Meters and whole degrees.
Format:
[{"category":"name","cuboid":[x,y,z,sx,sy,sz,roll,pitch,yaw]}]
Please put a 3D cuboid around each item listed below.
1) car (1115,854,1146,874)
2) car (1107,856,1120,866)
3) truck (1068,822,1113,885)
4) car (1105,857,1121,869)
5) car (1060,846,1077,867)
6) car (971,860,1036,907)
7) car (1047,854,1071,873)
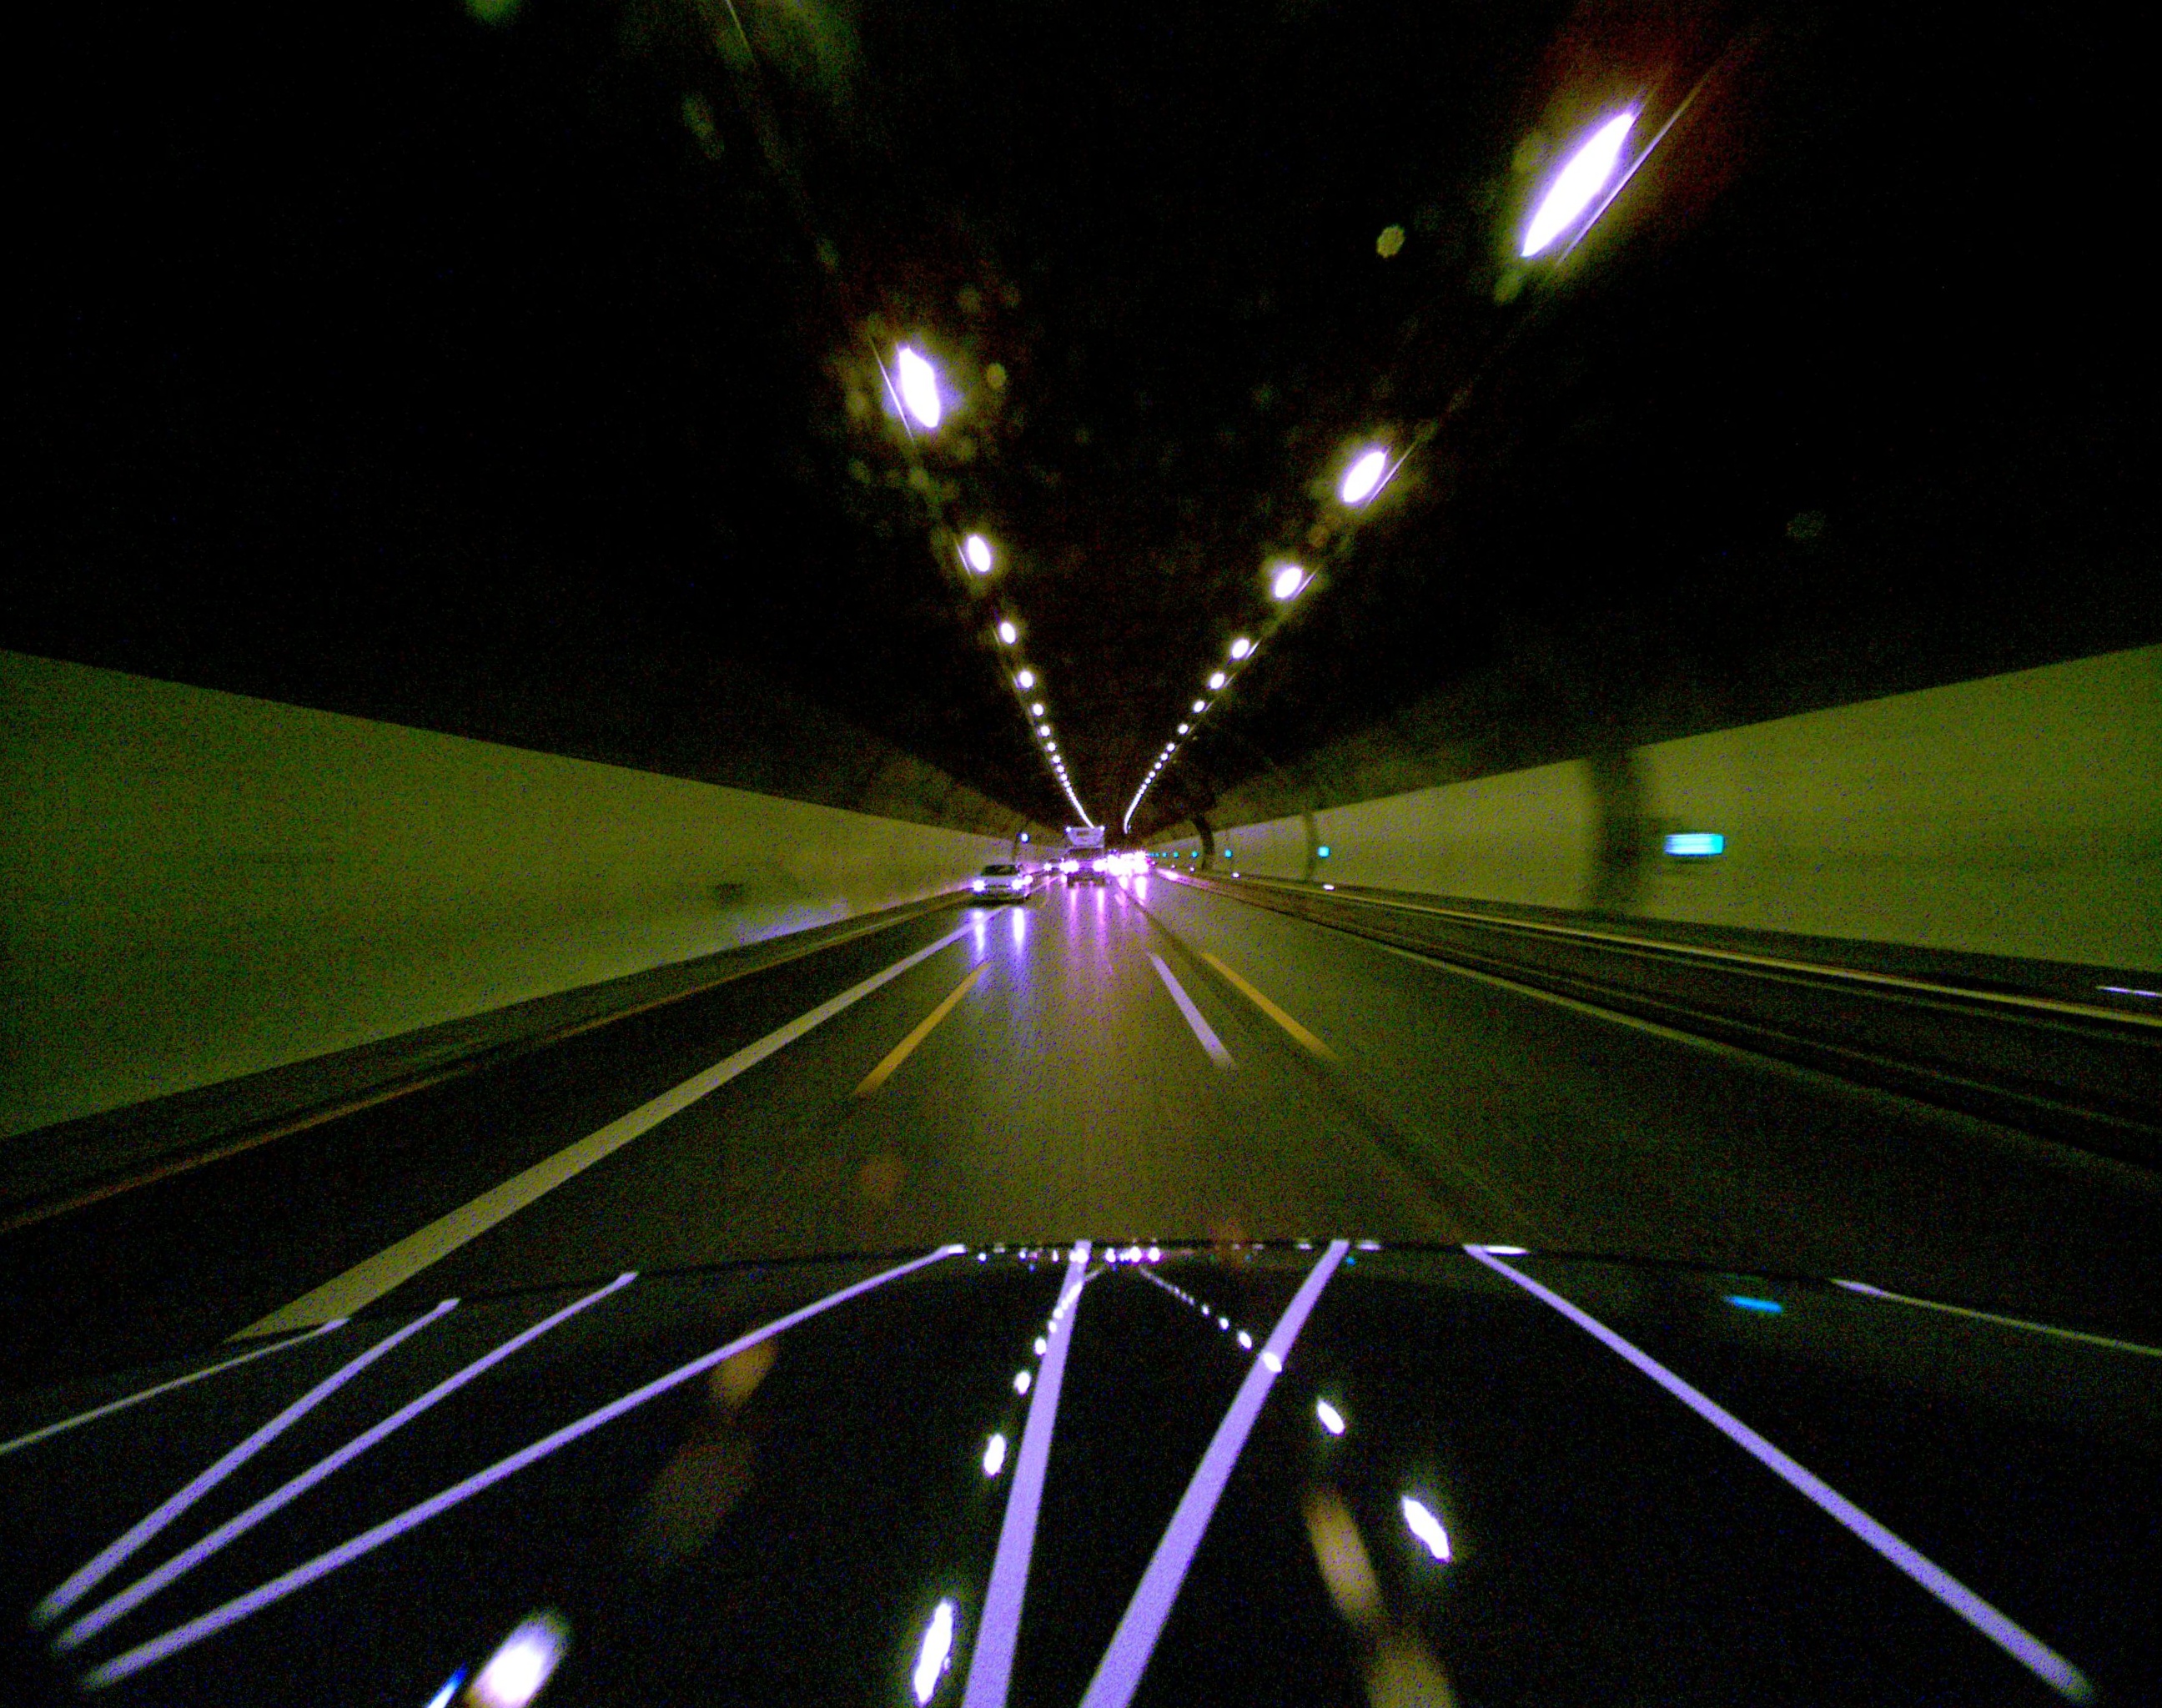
[{"category":"car","cuboid":[3.727,0.754,57.691,1.908,1.476,4.943,0,-1,-2]},{"category":"car","cuboid":[5.644,1.176,132.508,1.958,1.527,4.757,-4,0,-1]},{"category":"truck","cuboid":[0.423,-0.020,43.237,2.262,3.238,7.382,-1,0,-1]},{"category":"car","cuboid":[3.579,0.999,85.560,1.657,1.395,3.656,-1,0,-1]},{"category":"car","cuboid":[-1.616,0.308,99.440,2.124,2.629,6.228,-2,1,-1]},{"category":"car","cuboid":[-2.717,1.001,27.337,1.801,1.452,4.034,-2,0,1]},{"category":"car","cuboid":[-1.941,0.852,67.770,1.958,1.527,4.757,-2,0,-2]}]
